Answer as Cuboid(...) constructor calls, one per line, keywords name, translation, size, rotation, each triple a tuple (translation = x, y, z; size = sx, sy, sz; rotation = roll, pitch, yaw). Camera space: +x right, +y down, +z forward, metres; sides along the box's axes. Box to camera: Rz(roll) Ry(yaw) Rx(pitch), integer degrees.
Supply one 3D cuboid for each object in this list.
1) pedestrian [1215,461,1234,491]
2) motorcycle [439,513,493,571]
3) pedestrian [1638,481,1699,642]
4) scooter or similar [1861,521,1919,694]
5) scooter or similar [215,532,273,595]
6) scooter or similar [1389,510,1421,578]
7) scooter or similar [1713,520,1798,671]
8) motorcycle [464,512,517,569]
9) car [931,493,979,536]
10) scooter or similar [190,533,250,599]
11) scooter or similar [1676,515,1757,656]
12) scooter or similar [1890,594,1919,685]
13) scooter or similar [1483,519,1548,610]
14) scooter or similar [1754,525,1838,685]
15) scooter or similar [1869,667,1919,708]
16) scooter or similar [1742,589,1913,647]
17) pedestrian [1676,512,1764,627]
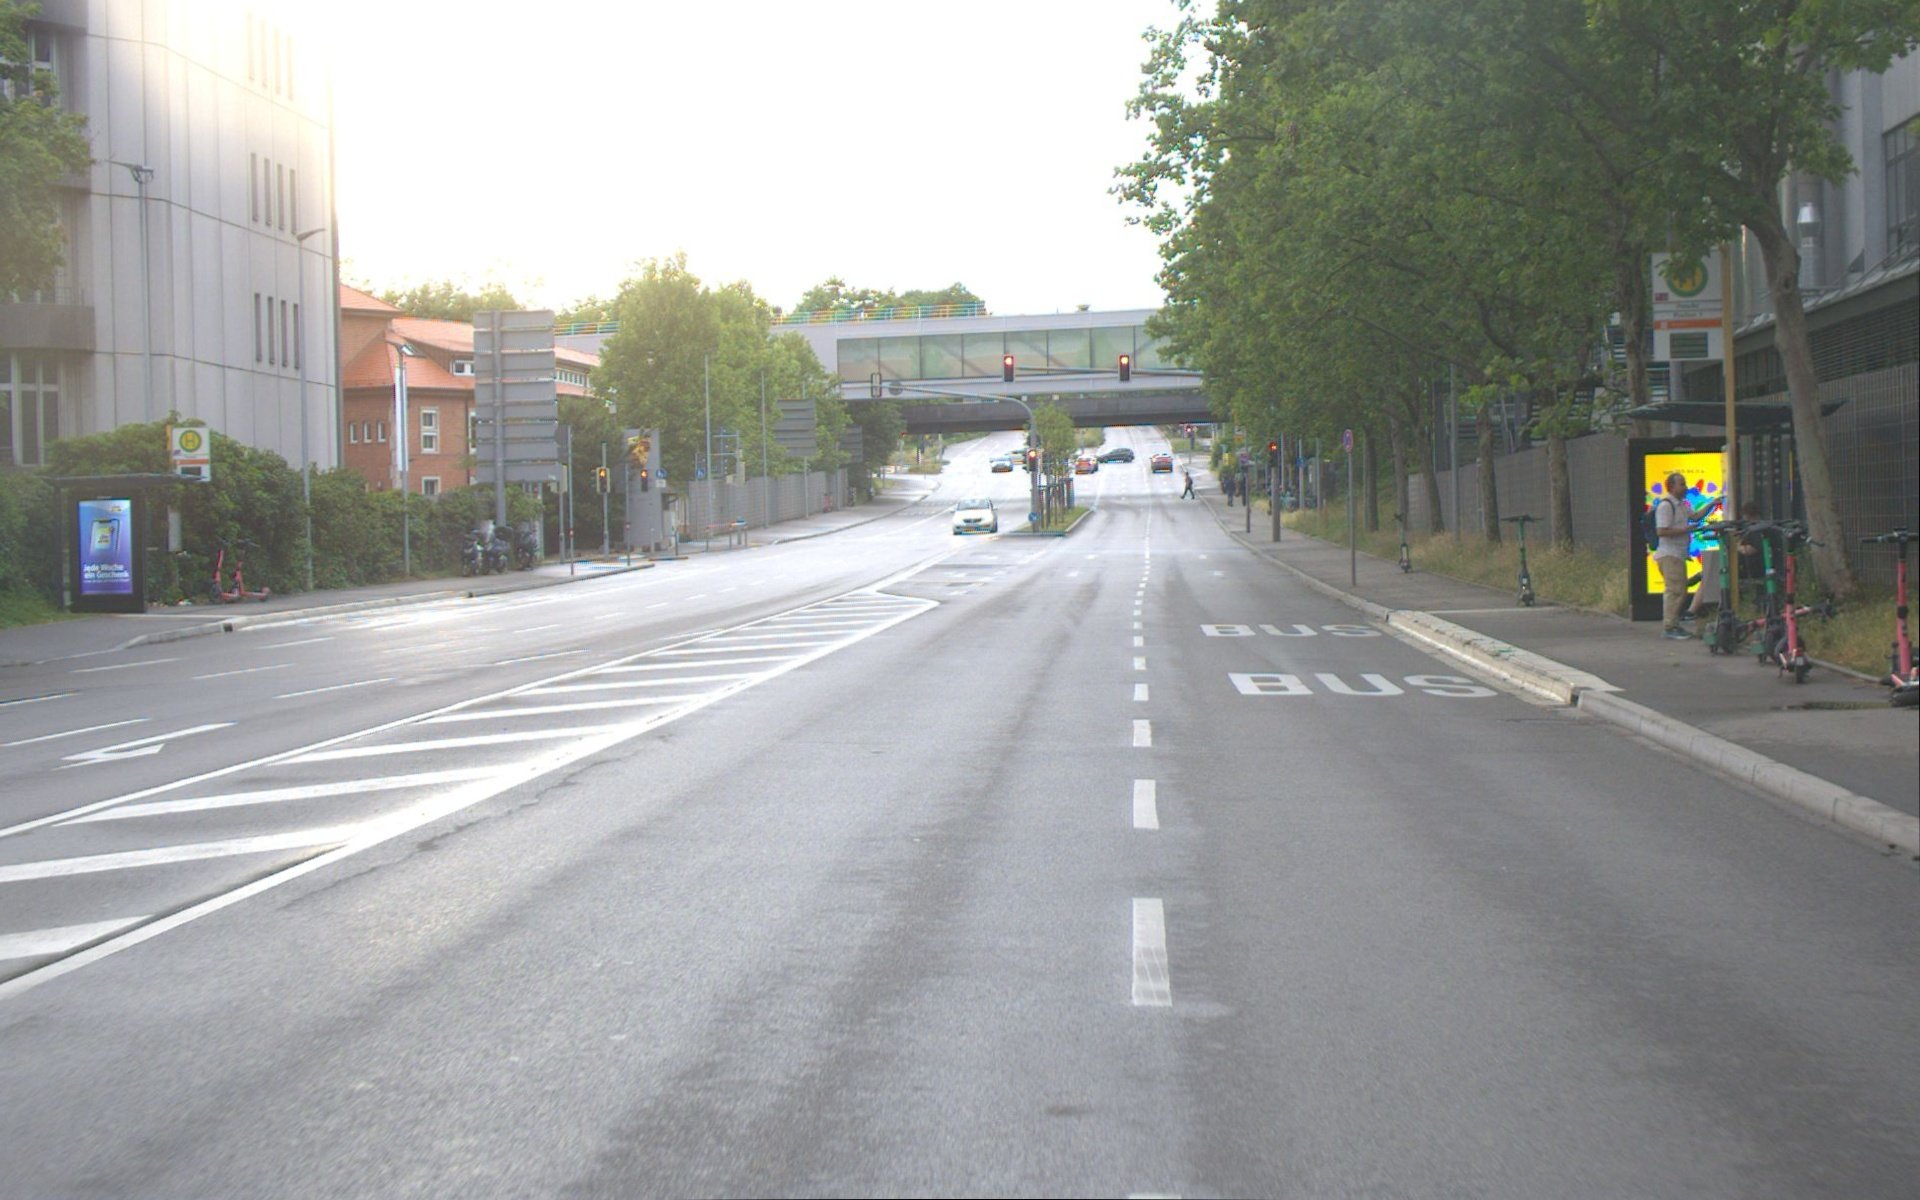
Cuboid(name="pedestrian", translation=(17.853, -8.368, 231.744), size=(1.058, 2.007, 1.150), rotation=(-1, 1, 14))
Cuboid(name="motorcycle", translation=(-13.410, -1.578, 93.365), size=(0.913, 1.527, 3.300), rotation=(-1, 1, 1))
Cuboid(name="pedestrian", translation=(7.437, -0.408, 36.101), size=(0.481, 1.661, 0.662), rotation=(-1, 1, 1))
Cuboid(name="scooter or similar", translation=(6.877, 0.042, 25.021), size=(0.388, 1.222, 1.073), rotation=(-1, 1, 3))
Cuboid(name="scooter or similar", translation=(-14.435, -0.745, 69.393), size=(0.497, 1.248, 1.921), rotation=(-1, 1, 8))
Cuboid(name="scooter or similar", translation=(9.146, -1.160, 70.583), size=(0.609, 1.361, 1.921), rotation=(-1, 1, 8))
Cuboid(name="scooter or similar", translation=(7.054, -0.053, 30.531), size=(0.475, 1.288, 1.434), rotation=(-1, 1, 3))
Cuboid(name="motorcycle", translation=(-13.251, -1.699, 97.043), size=(0.959, 1.550, 3.300), rotation=(-1, 1, 1))
Cuboid(name="car", translation=(-0.207, -3.681, 147.876), size=(1.993, 1.766, 4.000), rotation=(-1, 1, 0))
Cuboid(name="scooter or similar", translation=(-14.469, -0.673, 67.252), size=(0.525, 1.248, 1.799), rotation=(-1, 1, 8))
Cuboid(name="scooter or similar", translation=(7.176, -0.151, 32.650), size=(0.503, 1.288, 1.434), rotation=(-1, 1, 3))
Cuboid(name="scooter or similar", translation=(8.179, 0.318, 27.314), size=(0.652, 0.711, 1.525), rotation=(-2, 2, -28))
Cuboid(name="scooter or similar", translation=(7.831, -0.510, 48.393), size=(0.699, 1.240, 1.920), rotation=(-1, 1, 15))
Cuboid(name="scooter or similar", translation=(6.857, 0.030, 28.217), size=(0.433, 1.266, 1.194), rotation=(-1, 1, 3))
Cuboid(name="scooter or similar", translation=(6.942, 0.609, 23.524), size=(0.652, 0.245, 1.525), rotation=(-2, 2, -19))
Cuboid(name="scooter or similar", translation=(8.518, 0.176, 33.752), size=(1.563, 0.517, 0.643), rotation=(-1, 2, 20))
Cuboid(name="pedestrian", translation=(8.876, -0.360, 40.166), size=(0.951, 1.312, 0.685), rotation=(-1, 1, 10))
